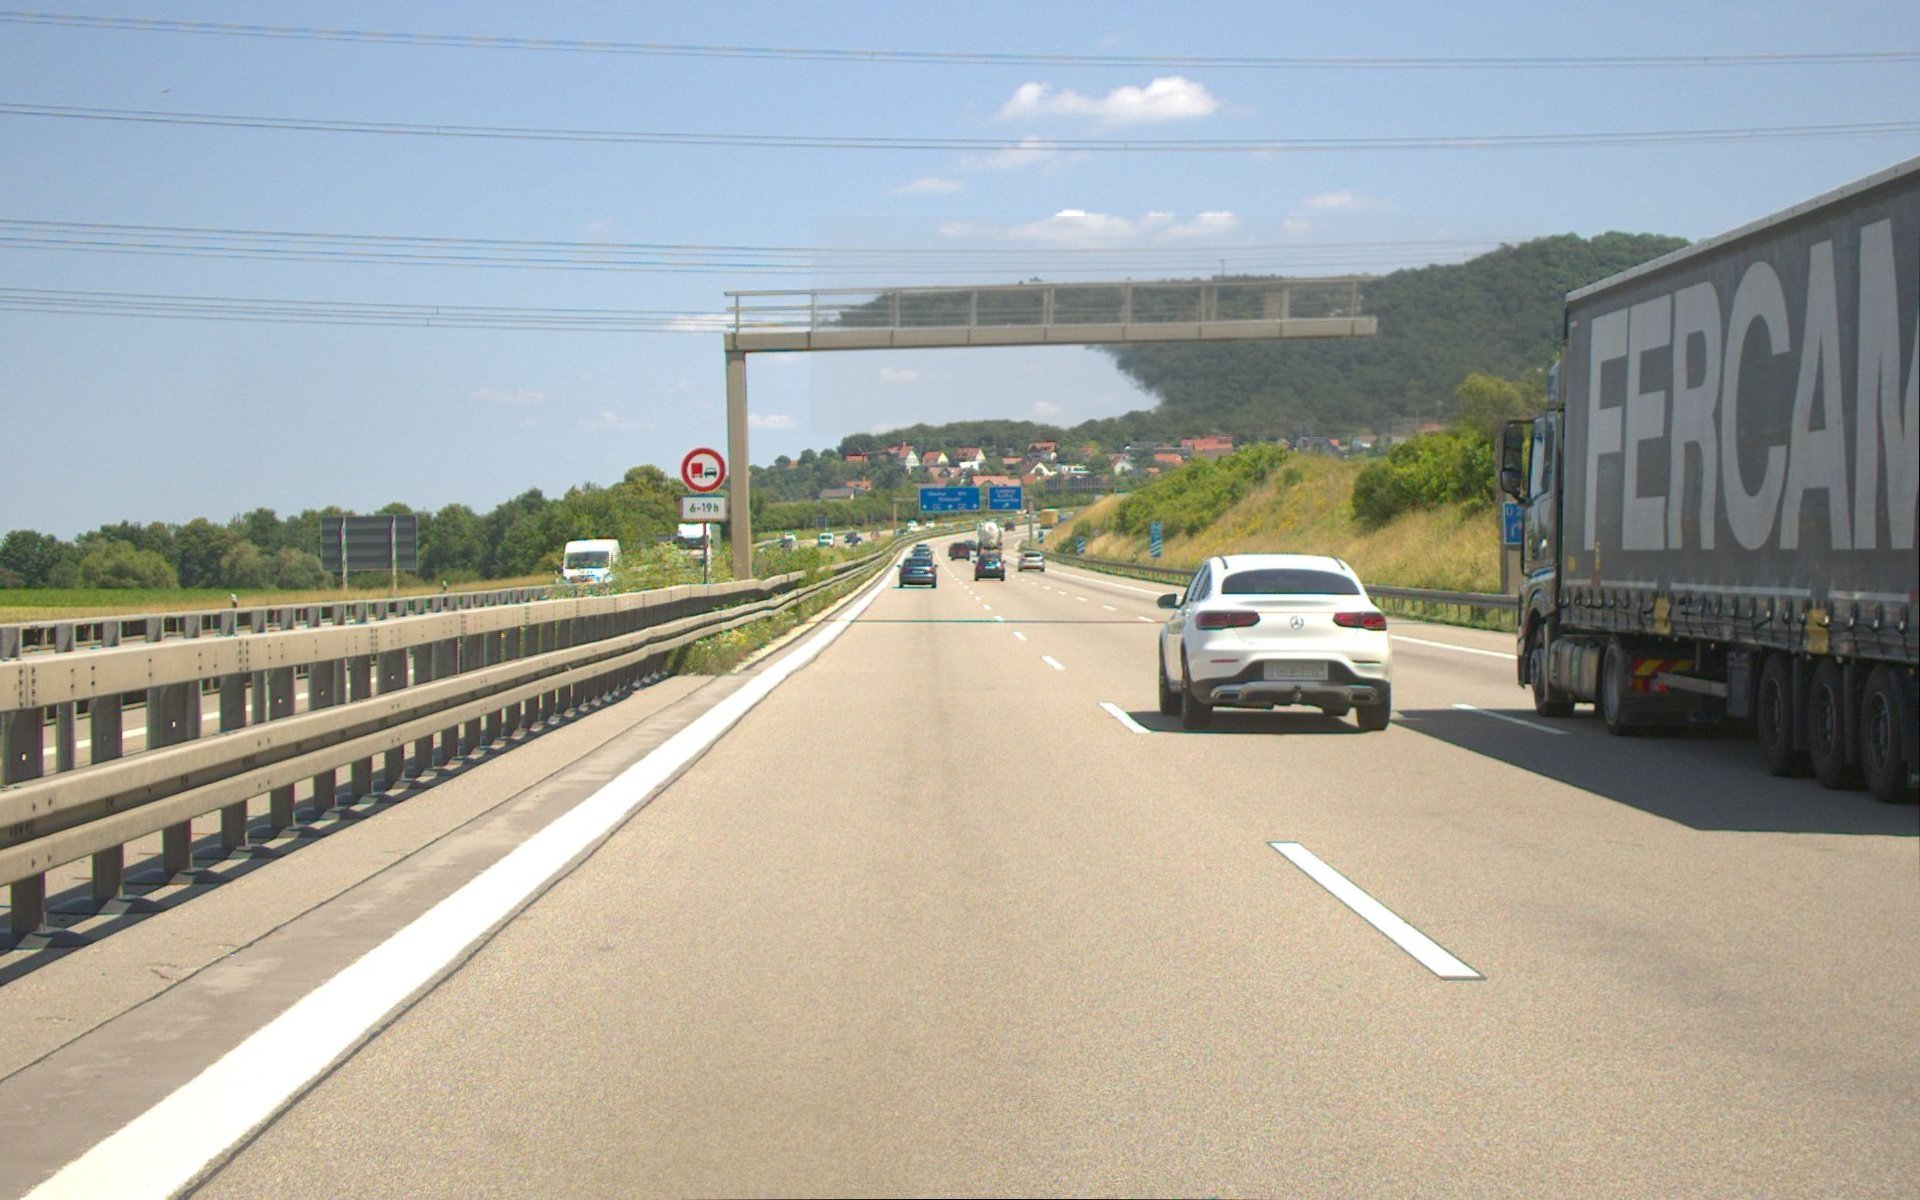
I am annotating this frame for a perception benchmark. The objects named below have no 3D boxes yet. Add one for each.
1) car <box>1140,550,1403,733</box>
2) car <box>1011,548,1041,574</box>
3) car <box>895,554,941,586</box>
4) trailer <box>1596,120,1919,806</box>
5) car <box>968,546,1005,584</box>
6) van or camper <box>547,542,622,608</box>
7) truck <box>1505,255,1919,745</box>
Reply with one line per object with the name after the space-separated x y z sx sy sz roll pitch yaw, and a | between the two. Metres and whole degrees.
2.861 0.348 32.698 1.914 1.575 5.231 1 0 -1 | car
4.743 -2.808 247.299 1.993 1.812 4.000 -1 1 0 | car
-1.891 -1.363 155.677 1.993 1.384 4.000 1 0 0 | car
7.102 -0.838 24.630 2.725 4.141 11.808 1 0 -1 | trailer
1.430 -1.895 188.421 1.993 2.007 4.000 1 0 0 | car
-14.734 -0.974 135.212 2.227 2.500 6.597 1 0 -1 | van or camper
7.016 -0.838 31.726 2.752 4.007 6.789 1 0 -1 | truck
